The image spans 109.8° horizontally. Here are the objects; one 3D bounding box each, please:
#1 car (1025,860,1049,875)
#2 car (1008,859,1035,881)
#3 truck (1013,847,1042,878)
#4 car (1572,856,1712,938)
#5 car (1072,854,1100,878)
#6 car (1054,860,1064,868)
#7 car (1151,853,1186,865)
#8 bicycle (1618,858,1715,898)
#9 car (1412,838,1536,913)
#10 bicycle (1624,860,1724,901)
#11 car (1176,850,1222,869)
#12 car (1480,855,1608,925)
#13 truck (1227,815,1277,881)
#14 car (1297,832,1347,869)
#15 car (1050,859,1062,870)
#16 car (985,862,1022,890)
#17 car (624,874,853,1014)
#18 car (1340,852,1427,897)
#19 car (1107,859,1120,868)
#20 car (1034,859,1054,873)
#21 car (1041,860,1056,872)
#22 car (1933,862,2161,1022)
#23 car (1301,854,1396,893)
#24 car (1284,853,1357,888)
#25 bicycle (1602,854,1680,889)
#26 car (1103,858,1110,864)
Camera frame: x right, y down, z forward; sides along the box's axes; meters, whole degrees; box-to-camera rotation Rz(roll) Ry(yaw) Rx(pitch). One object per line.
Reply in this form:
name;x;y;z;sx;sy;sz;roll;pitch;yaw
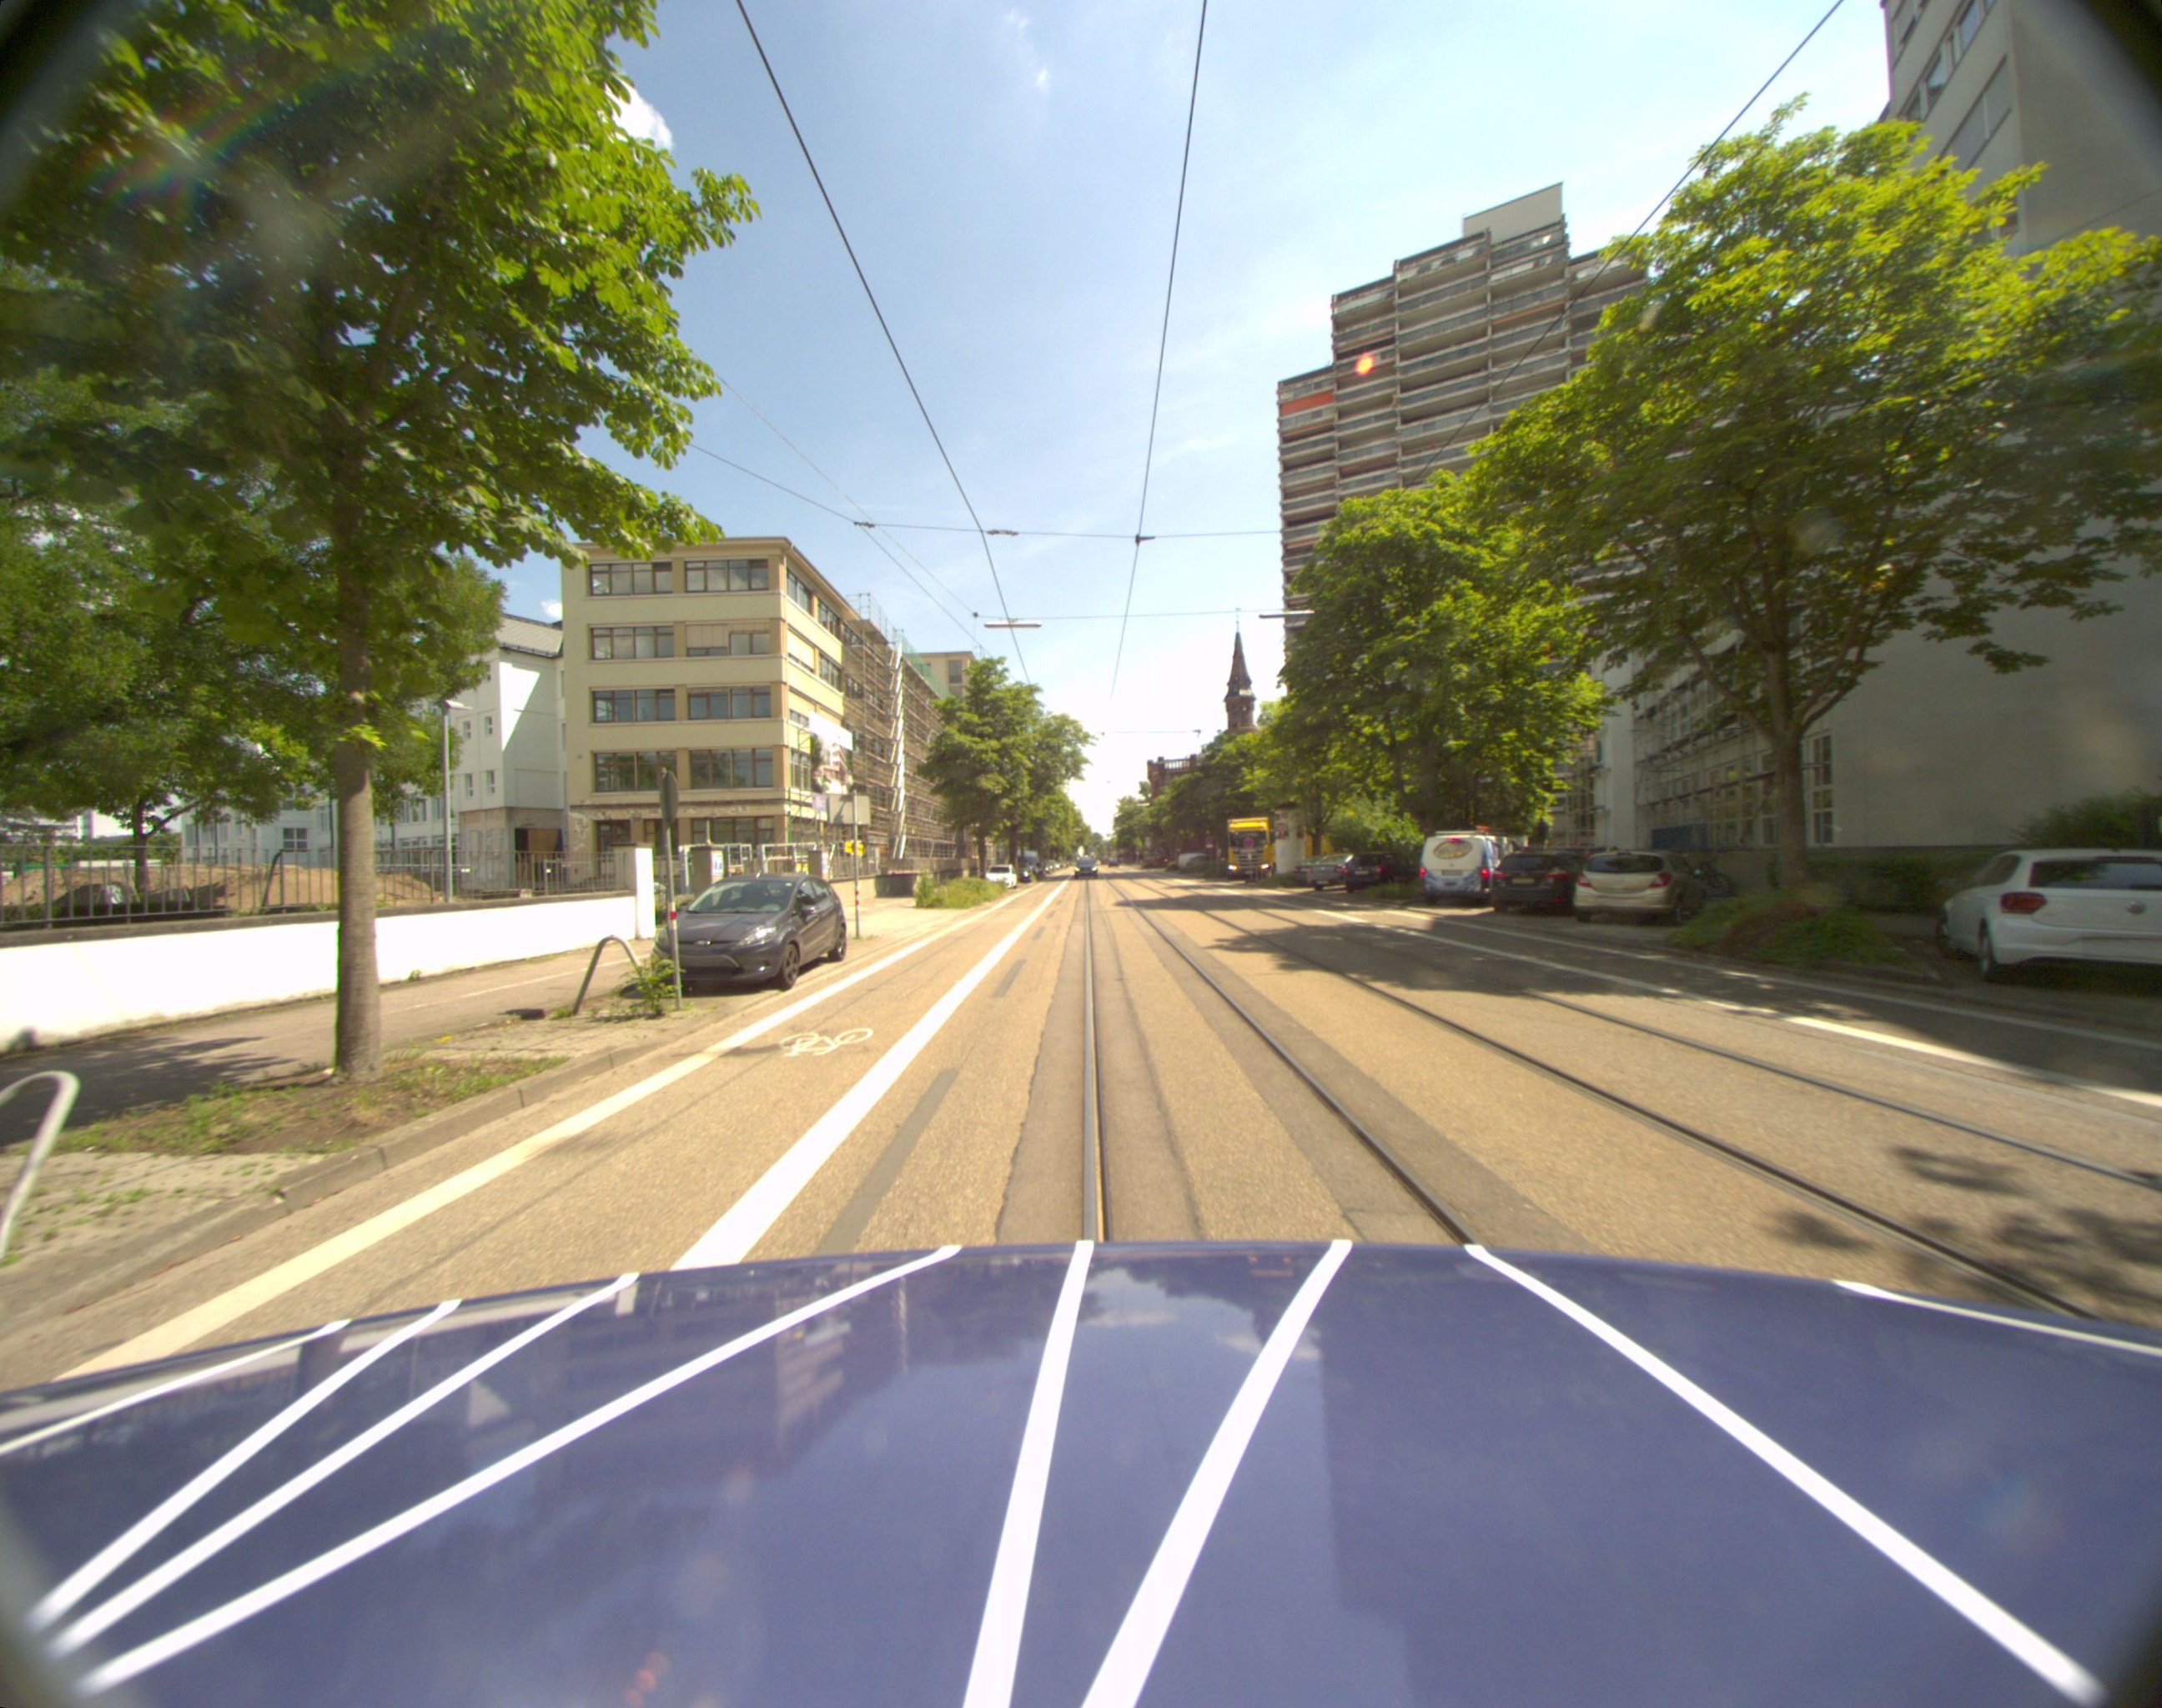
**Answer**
car;-4.325;1.320;75.162;1.828;1.463;4.401;-2;0;3
car;-4.394;1.156;56.795;1.648;1.525;3.947;-2;0;0
truck;-4.475;0.715;64.702;2.019;2.474;5.956;-2;0;0
car;11.635;0.778;15.674;3.717;1.459;1.757;0;0;-45
car;0.387;0.916;60.283;1.998;1.731;4.227;-3;0;0
car;-4.017;1.804;139.233;1.675;1.481;3.980;-2;0;-1
car;13.095;0.759;113.297;4.787;1.557;1.997;-2;0;-28
bicycle;17.079;0.713;22.212;2.131;1.069;0.558;-3;0;26
car;11.344;0.545;21.780;1.916;1.923;4.767;0;0;43
bicycle;16.799;0.752;21.585;2.131;1.069;0.558;-3;0;26
car;12.560;0.615;80.814;4.555;1.780;1.896;-3;0;-32
car;11.277;0.775;18.413;1.812;1.498;3.717;0;0;45
truck;11.649;-0.448;50.970;2.719;3.819;10.974;-3;0;15
car;18.836;-0.322;59.172;2.179;2.551;6.735;-2;1;30
car;-3.937;1.631;118.856;1.676;1.490;4.365;-2;0;-3
car;-4.511;1.249;44.814;1.648;1.525;3.786;-2;0;2
car;-4.593;1.103;10.850;1.643;1.477;3.872;-1;0;-3
car;11.399;0.725;28.488;3.717;1.535;1.687;-1;0;-45
car;5.665;1.666;133.022;1.779;1.389;4.287;-2;0;-2
car;-4.185;1.373;86.045;1.829;1.463;4.487;-2;0;2
car;-4.070;1.481;96.327;1.675;1.429;4.042;-2;0;-1
car;11.052;0.817;8.400;1.757;1.425;4.009;2;1;43
car;11.199;0.762;31.648;4.212;1.498;1.869;-1;0;-41
car;11.063;0.739;34.997;1.757;1.498;3.717;0;0;43
bicycle;18.880;0.587;25.670;2.013;1.069;0.558;-3;0;26
car;6.643;1.854;198.604;1.835;1.671;4.184;-2;0;0
